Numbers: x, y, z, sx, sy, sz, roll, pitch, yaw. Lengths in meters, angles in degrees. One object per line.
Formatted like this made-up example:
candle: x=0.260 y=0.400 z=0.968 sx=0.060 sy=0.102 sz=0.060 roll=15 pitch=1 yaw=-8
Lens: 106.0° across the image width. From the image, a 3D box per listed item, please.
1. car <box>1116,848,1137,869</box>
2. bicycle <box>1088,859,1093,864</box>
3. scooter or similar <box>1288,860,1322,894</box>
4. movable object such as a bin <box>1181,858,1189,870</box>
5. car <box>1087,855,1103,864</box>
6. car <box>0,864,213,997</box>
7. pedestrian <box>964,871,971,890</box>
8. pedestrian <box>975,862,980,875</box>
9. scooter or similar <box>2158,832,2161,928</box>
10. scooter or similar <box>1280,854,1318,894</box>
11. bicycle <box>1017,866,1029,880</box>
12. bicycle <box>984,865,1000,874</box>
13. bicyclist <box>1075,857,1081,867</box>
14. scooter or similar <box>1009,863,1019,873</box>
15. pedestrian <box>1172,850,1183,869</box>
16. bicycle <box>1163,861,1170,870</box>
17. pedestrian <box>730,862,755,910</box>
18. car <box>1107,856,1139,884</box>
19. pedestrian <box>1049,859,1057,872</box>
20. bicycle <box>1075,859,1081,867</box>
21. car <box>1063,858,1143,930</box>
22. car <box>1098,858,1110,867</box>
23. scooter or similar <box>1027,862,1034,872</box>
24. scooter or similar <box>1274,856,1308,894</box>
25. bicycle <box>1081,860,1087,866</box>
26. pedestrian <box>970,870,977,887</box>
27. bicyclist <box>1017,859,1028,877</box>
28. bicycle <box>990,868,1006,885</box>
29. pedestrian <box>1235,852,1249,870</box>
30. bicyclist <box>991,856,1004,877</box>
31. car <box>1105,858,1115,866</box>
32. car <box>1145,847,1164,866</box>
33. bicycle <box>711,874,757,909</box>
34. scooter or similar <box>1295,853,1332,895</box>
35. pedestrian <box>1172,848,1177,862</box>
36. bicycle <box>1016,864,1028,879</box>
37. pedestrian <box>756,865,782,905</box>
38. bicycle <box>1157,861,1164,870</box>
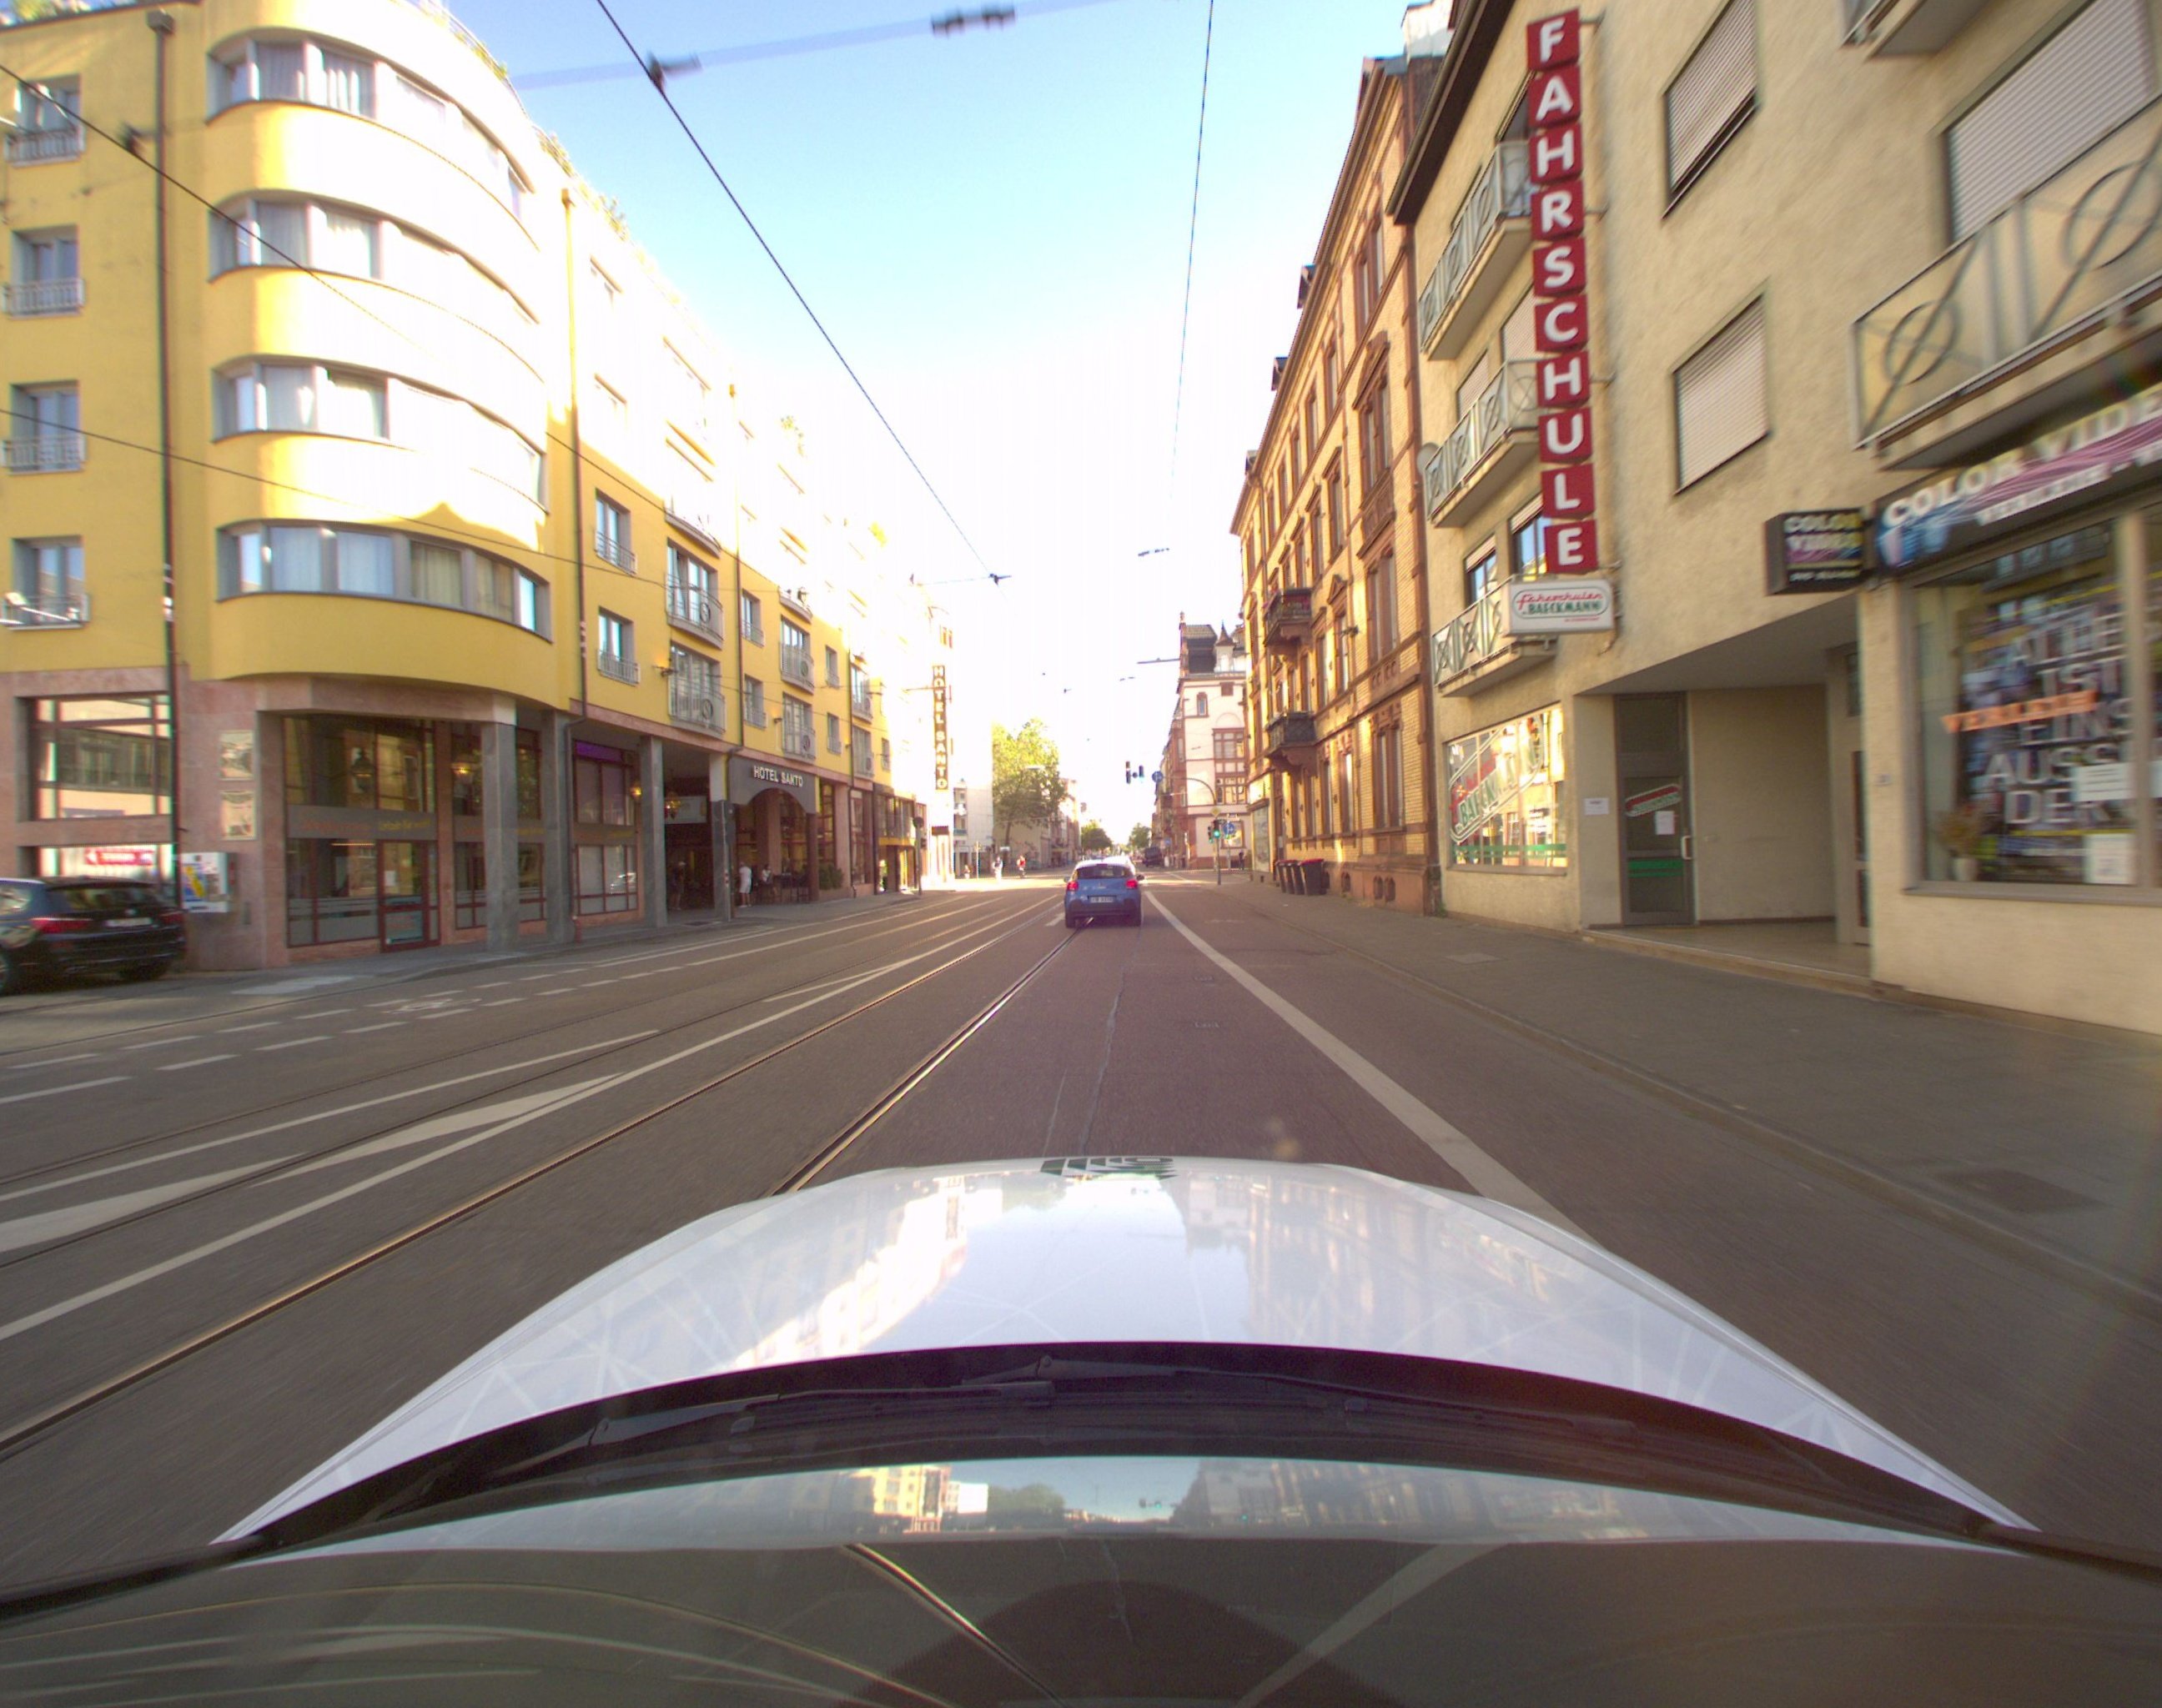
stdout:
car: x=4.587 y=0.496 z=83.098 sx=1.986 sy=2.013 sz=4.002 roll=-2 pitch=0 yaw=2
bicycle: x=2.380 y=1.861 z=199.550 sx=1.118 sy=1.146 sz=3.641 roll=-2 pitch=0 yaw=-2
scooter or similar: x=6.924 y=0.703 z=25.241 sx=0.787 sy=0.957 sz=0.680 roll=-6 pitch=-1 yaw=1
movable object such as a bin: x=10.363 y=1.019 z=80.986 sx=0.663 sy=1.153 sz=0.594 roll=-2 pitch=-1 yaw=0
car: x=4.295 y=1.610 z=248.291 sx=4.326 sy=2.581 sz=2.193 roll=-2 pitch=-1 yaw=-23
car: x=-16.149 y=1.127 z=12.322 sx=4.215 sy=1.812 sz=1.787 roll=-2 pitch=-1 yaw=3
pedestrian: x=-8.585 y=1.962 z=61.385 sx=0.402 sy=1.410 sz=0.516 roll=-2 pitch=-1 yaw=2
pedestrian: x=-13.591 y=1.890 z=106.659 sx=0.454 sy=1.718 sz=0.547 roll=-2 pitch=-1 yaw=2
scooter or similar: x=5.397 y=0.526 z=3.405 sx=0.406 sy=1.281 sz=1.290 roll=-2 pitch=-1 yaw=20
scooter or similar: x=6.945 y=0.635 z=25.966 sx=0.930 sy=1.148 sz=0.650 roll=-6 pitch=-1 yaw=1
bicycle: x=-4.719 y=1.558 z=66.136 sx=0.728 sy=1.065 sz=2.062 roll=-2 pitch=0 yaw=2
bicycle: x=-10.944 y=1.957 z=100.328 sx=1.897 sy=1.034 sz=0.669 roll=-2 pitch=-1 yaw=29
bicyclist: x=-0.449 y=1.166 z=122.447 sx=0.680 sy=1.483 sz=0.779 roll=-2 pitch=0 yaw=2
scooter or similar: x=-8.803 y=1.812 z=106.371 sx=1.227 sy=1.258 sz=0.765 roll=-2 pitch=-1 yaw=-9
pedestrian: x=9.886 y=0.541 z=83.696 sx=0.703 sy=1.781 sz=0.673 roll=-14 pitch=-1 yaw=2
bicycle: x=9.078 y=1.243 z=86.795 sx=0.430 sy=0.947 sz=1.761 roll=-2 pitch=0 yaw=-4
pedestrian: x=-12.682 y=1.184 z=30.517 sx=0.558 sy=1.770 sz=0.724 roll=0 pitch=-1 yaw=8
car: x=2.404 y=0.911 z=46.917 sx=1.660 sy=1.478 sz=4.002 roll=-2 pitch=0 yaw=2
pedestrian: x=-3.859 y=1.516 z=112.071 sx=0.677 sy=1.765 sz=1.029 roll=-2 pitch=-1 yaw=14
bicycle: x=-0.440 y=1.325 z=122.228 sx=0.690 sy=1.120 sz=2.085 roll=-2 pitch=0 yaw=2
car: x=0.544 y=0.870 z=19.423 sx=1.667 sy=1.477 sz=4.002 roll=-2 pitch=0 yaw=2
car: x=4.007 y=1.456 z=141.158 sx=1.978 sy=1.502 sz=4.311 roll=-2 pitch=0 yaw=2
scooter or similar: x=-6.706 y=1.748 z=107.726 sx=0.785 sy=1.272 sz=1.075 roll=-2 pitch=-1 yaw=2
scooter or similar: x=6.959 y=0.682 z=27.000 sx=0.894 sy=1.148 sz=0.548 roll=-6 pitch=-1 yaw=1
bicycle: x=0.735 y=2.153 z=199.377 sx=1.118 sy=1.319 sz=3.641 roll=-2 pitch=0 yaw=-2
pedestrian: x=-10.247 y=2.346 z=77.367 sx=0.540 sy=1.552 sz=0.516 roll=-2 pitch=-1 yaw=2
bicyclist: x=-4.741 y=1.138 z=66.037 sx=0.732 sy=1.381 sz=1.469 roll=-2 pitch=-1 yaw=2
bicycle: x=-5.661 y=1.520 z=55.603 sx=0.728 sy=1.088 sz=2.062 roll=-2 pitch=0 yaw=2
pedestrian: x=13.358 y=0.563 z=67.499 sx=0.930 sy=1.457 sz=0.827 roll=-2 pitch=-1 yaw=19
bicyclist: x=-5.681 y=0.831 z=55.435 sx=0.721 sy=1.381 sz=1.228 roll=-2 pitch=0 yaw=2
car: x=6.426 y=1.825 z=180.328 sx=1.986 sy=1.744 sz=4.565 roll=-2 pitch=0 yaw=2
car: x=9.638 y=0.339 z=107.093 sx=2.262 sy=2.437 sz=5.724 roll=-2 pitch=0 yaw=3
bicycle: x=-13.196 y=1.412 z=31.027 sx=0.578 sy=1.203 sz=2.085 roll=-2 pitch=0 yaw=8
scooter or similar: x=6.935 y=0.582 z=24.298 sx=0.787 sy=1.148 sz=0.790 roll=-6 pitch=-1 yaw=1
pedestrian: x=12.140 y=0.145 z=106.148 sx=0.551 sy=1.782 sz=0.606 roll=-2 pitch=-1 yaw=2
bicycle: x=-4.975 y=1.496 z=69.121 sx=0.728 sy=1.183 sz=2.062 roll=-2 pitch=0 yaw=2
pedestrian: x=-12.280 y=1.224 z=32.034 sx=0.701 sy=1.547 sz=0.602 roll=-2 pitch=-1 yaw=7
bicycle: x=8.478 y=1.243 z=86.773 sx=0.430 sy=0.947 sz=1.761 roll=-2 pitch=0 yaw=-4
